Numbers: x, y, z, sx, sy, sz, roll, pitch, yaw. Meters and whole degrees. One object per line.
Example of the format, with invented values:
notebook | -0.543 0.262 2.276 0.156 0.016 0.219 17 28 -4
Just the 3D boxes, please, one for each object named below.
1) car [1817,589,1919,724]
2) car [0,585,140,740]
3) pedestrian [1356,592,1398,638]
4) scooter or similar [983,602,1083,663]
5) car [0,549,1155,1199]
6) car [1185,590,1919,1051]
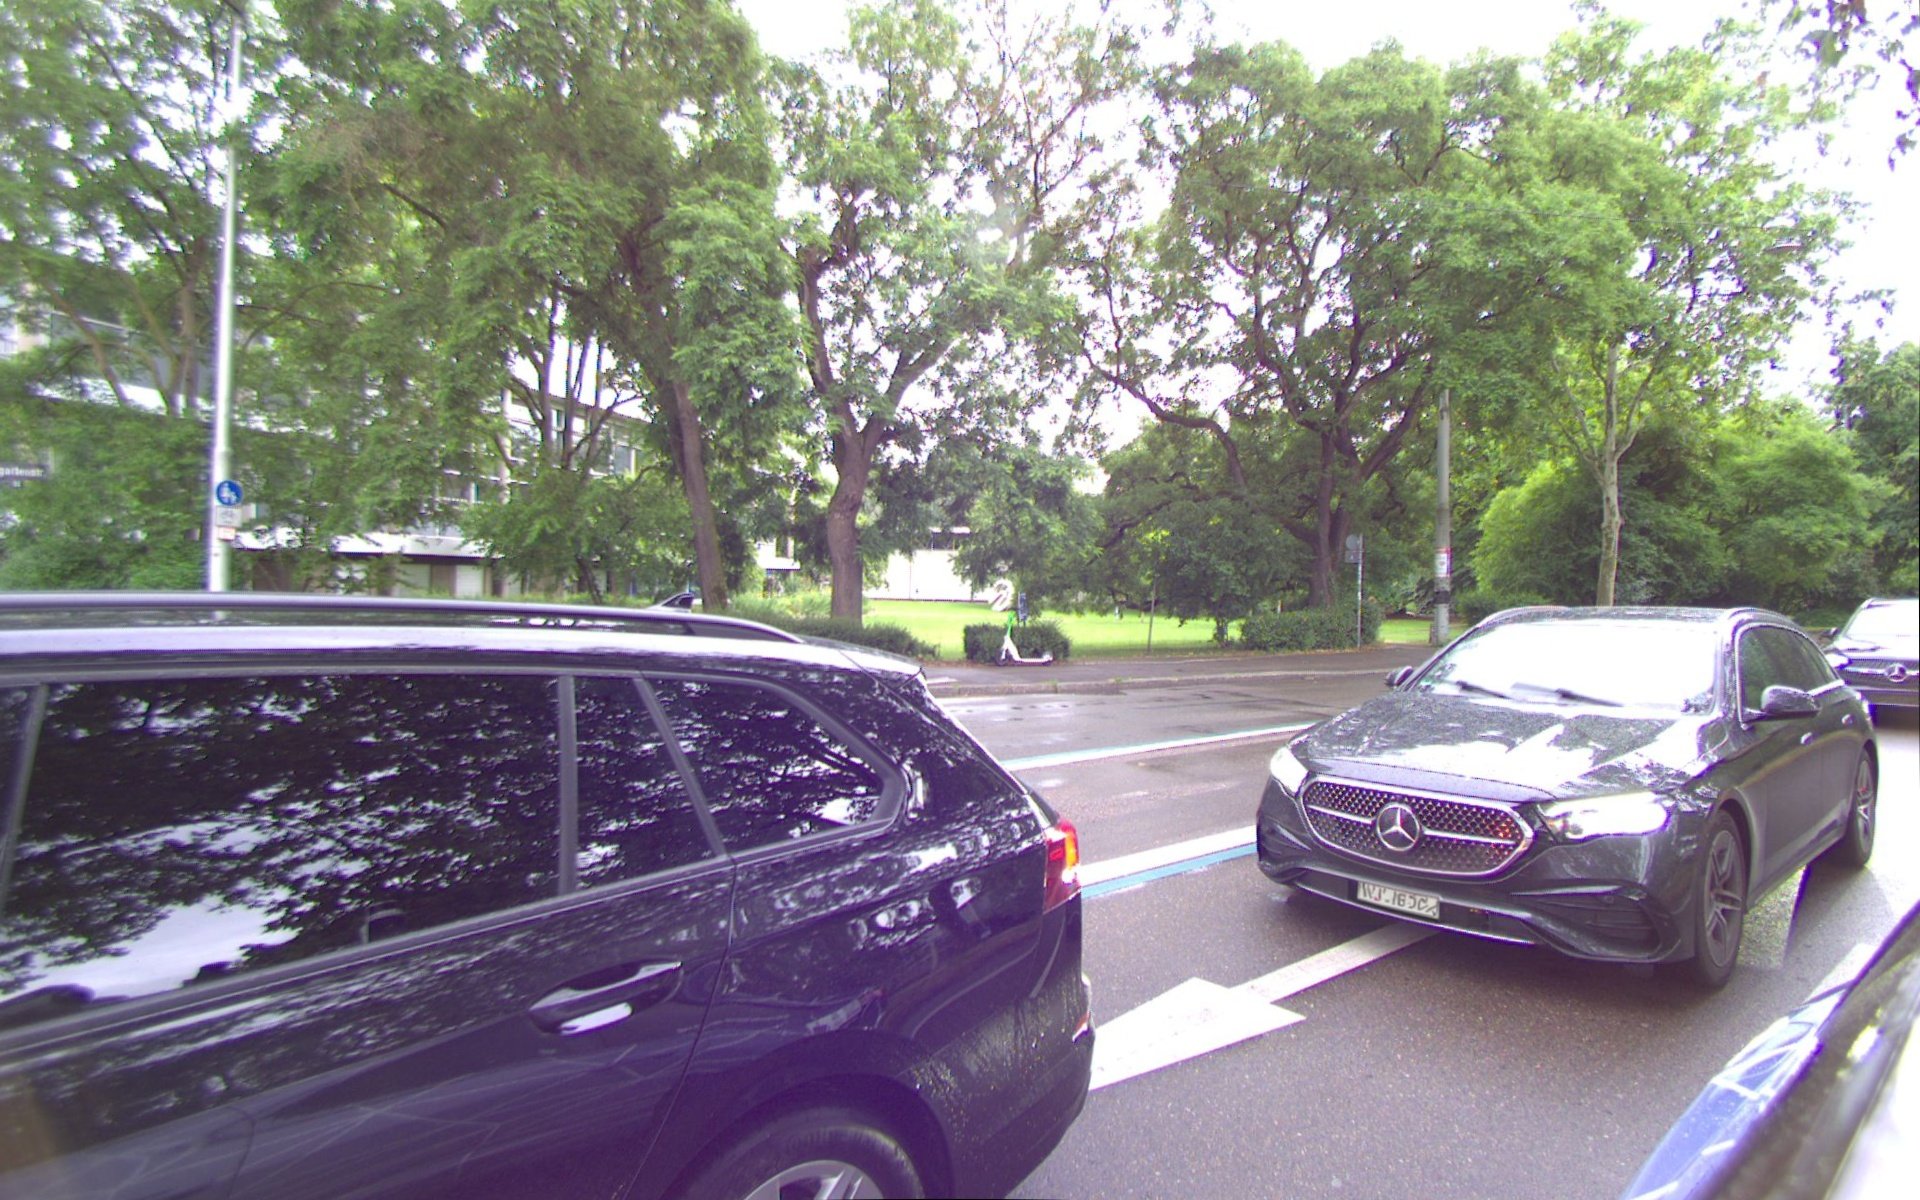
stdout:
car | 13.235 0.692 13.633 4.495 1.628 1.832 1 -1 -40
car | -11.093 0.575 9.943 4.311 1.468 1.872 0 0 -19
pedestrian | 15.003 0.532 36.400 1.038 1.626 1.071 -1 0 1
scooter or similar | 1.440 0.643 19.970 1.851 1.114 0.559 2 2 -19
car | -1.753 0.675 1.417 4.435 1.484 1.672 1 0 -43
car | 3.507 0.706 5.488 4.841 1.464 1.883 0 -1 -39
